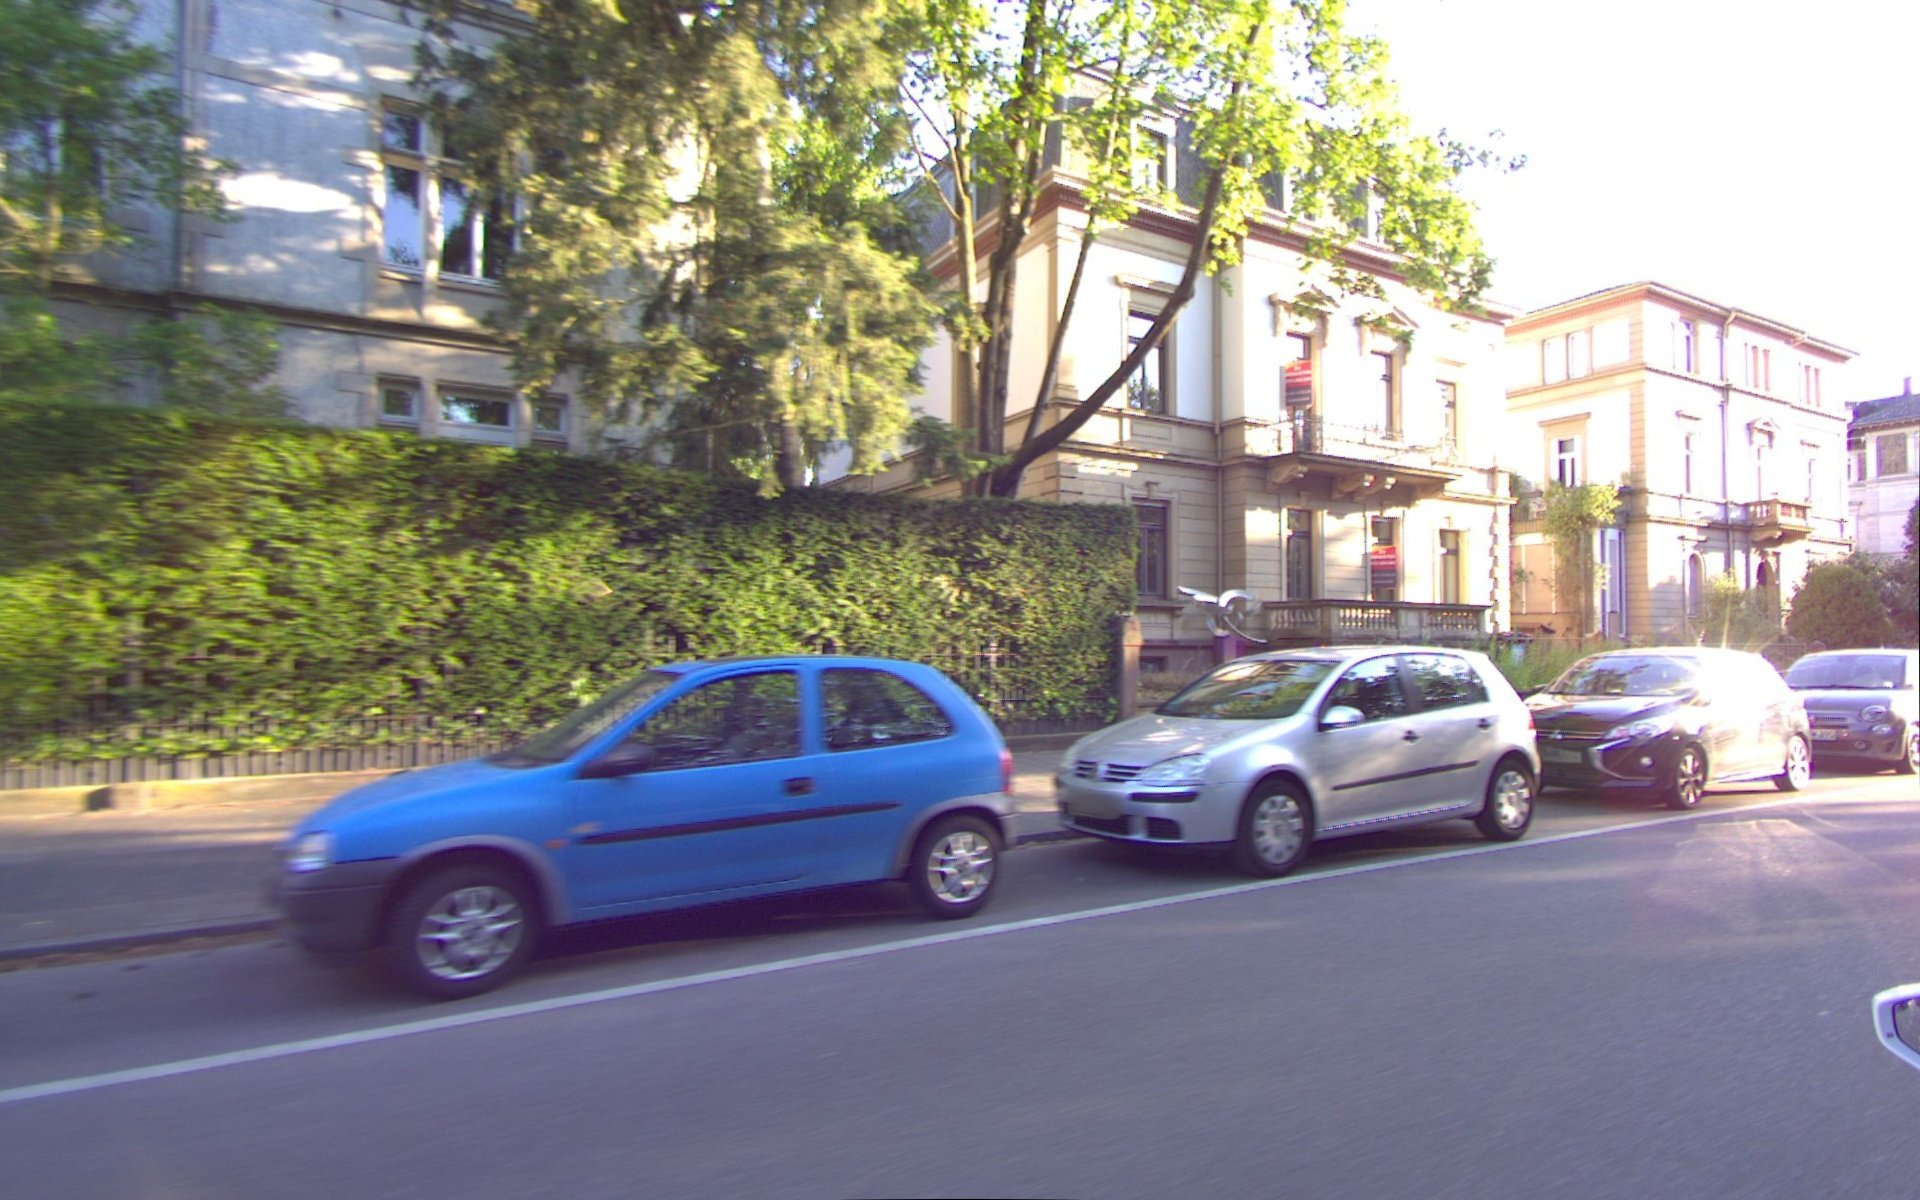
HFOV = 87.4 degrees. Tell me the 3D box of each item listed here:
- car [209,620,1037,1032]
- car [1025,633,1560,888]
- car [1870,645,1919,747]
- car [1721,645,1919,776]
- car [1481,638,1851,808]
[{"bbox_3d":[-1.565,0.927,5.361,3.698,1.504,1.606,2,-4,-31],"label":"car"},{"bbox_3d":[2.586,1.025,7.601,3.988,1.485,1.606,2,-3,-30],"label":"car"},{"bbox_3d":[15.867,1.446,15.446,3.988,1.485,1.606,2,-3,-30],"label":"car"},{"bbox_3d":[11.906,1.349,13.195,3.988,1.485,1.606,2,-3,-30],"label":"car"},{"bbox_3d":[7.468,1.190,10.554,3.988,1.485,1.607,2,-5,-30],"label":"car"}]
